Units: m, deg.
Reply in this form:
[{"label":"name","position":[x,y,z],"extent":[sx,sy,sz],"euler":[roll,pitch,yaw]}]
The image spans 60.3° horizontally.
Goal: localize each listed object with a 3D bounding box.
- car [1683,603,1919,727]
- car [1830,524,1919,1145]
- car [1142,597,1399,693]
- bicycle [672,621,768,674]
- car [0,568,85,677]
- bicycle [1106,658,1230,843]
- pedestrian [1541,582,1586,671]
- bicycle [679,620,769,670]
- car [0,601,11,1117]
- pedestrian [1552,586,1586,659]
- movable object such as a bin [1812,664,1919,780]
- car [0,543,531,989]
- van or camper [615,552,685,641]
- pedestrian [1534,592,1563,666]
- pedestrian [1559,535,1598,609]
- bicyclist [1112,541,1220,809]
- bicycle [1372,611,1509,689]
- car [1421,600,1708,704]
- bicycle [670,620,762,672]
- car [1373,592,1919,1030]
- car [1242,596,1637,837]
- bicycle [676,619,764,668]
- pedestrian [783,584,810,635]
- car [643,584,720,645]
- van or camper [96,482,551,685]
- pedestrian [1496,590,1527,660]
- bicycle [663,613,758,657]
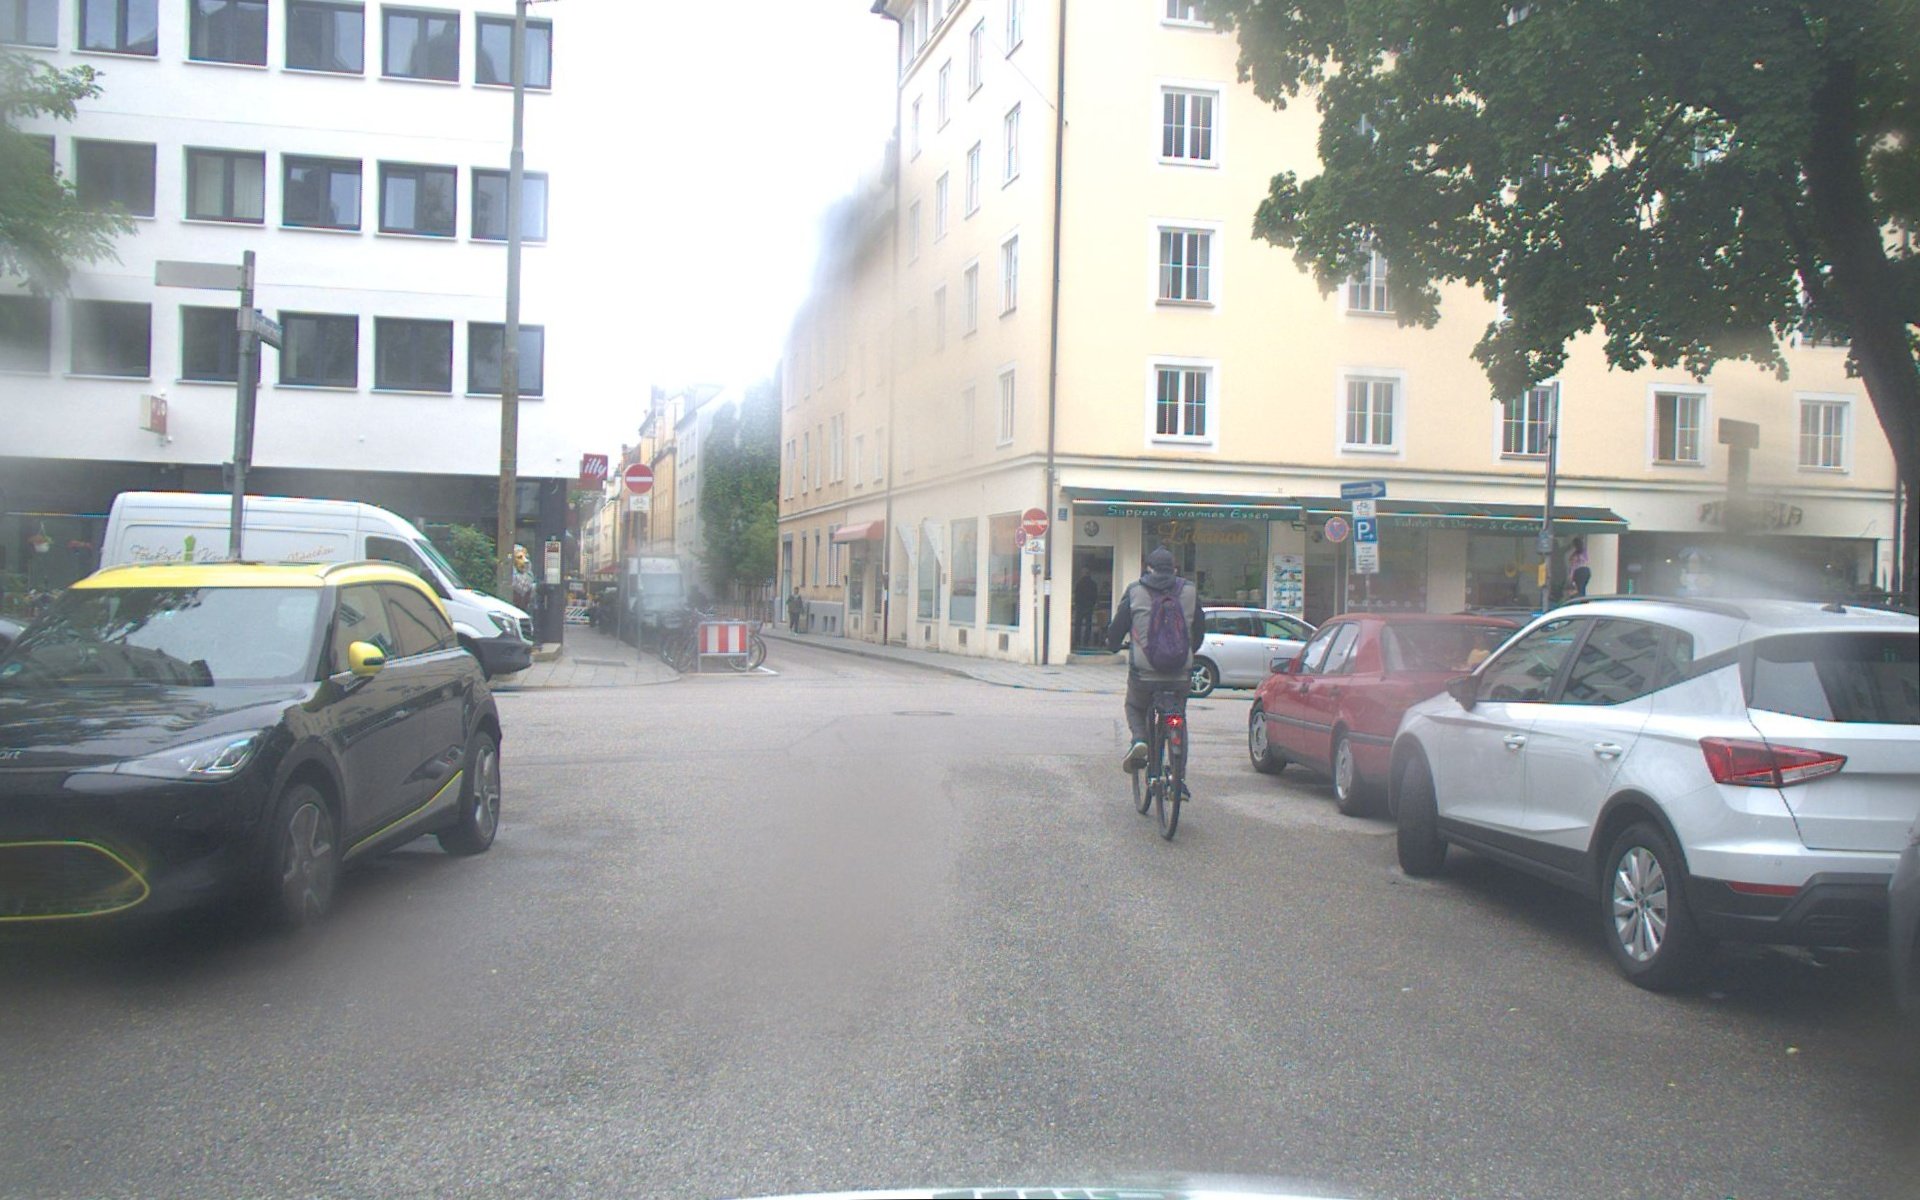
[{"label":"car","position":[11.603,0.844,22.003],"extent":[3.260,1.513,1.625],"euler":[1,1,-10]},{"label":"car","position":[3.663,0.685,2.923],"extent":[1.754,1.743,4.424],"euler":[1,0,-3]},{"label":"car","position":[5.087,0.772,27.433],"extent":[3.905,1.441,1.820],"euler":[1,-3,-1]},{"label":"bicycle","position":[-4.606,0.916,31.742],"extent":[1.727,0.985,0.592],"euler":[1,0,-18]},{"label":"car","position":[-14.441,0.304,22.628],"extent":[3.984,1.454,1.793],"euler":[1,-2,-14]},{"label":"bicycle","position":[1.299,0.916,10.579],"extent":[0.626,1.022,1.574],"euler":[1,0,2]},{"label":"pedestrian","position":[12.022,0.521,32.953],"extent":[0.591,1.731,0.542],"euler":[1,2,-10]},{"label":"bicycle","position":[-4.723,0.899,33.084],"extent":[1.709,0.985,0.541],"euler":[1,0,-18]},{"label":"car","position":[-3.520,0.727,2.592],"extent":[1.671,1.414,4.001],"euler":[-1,0,1]},{"label":"pedestrian","position":[13.304,0.484,36.137],"extent":[0.428,1.578,0.530],"euler":[1,0,-29]},{"label":"movable object such as a bin","position":[7.856,0.996,13.727],"extent":[0.882,0.858,1.218],"euler":[1,0,-4]},{"label":"car","position":[-3.414,0.614,8.052],"extent":[1.642,1.625,3.944],"euler":[-1,0,-1]},{"label":"van or camper","position":[-9.580,-0.114,50.850],"extent":[1.959,2.584,4.746],"euler":[1,0,-12]},{"label":"pedestrian","position":[12.704,0.617,35.710],"extent":[0.544,1.564,0.434],"euler":[2,2,20]},{"label":"pedestrian","position":[13.754,-0.625,36.784],"extent":[0.542,1.602,0.576],"euler":[3,0,-12]},{"label":"bicyclist","position":[1.303,0.455,10.547],"extent":[0.593,1.634,0.757],"euler":[1,1,2]},{"label":"bicycle","position":[8.637,0.894,29.777],"extent":[2.045,1.275,1.104],"euler":[2,1,-11]},{"label":"car","position":[10.181,0.878,27.952],"extent":[4.259,1.620,1.815],"euler":[2,-2,-12]},{"label":"bicycle","position":[-4.772,0.906,32.368],"extent":[1.709,0.985,0.541],"euler":[1,0,-18]},{"label":"car","position":[3.457,0.752,7.818],"extent":[1.716,1.522,3.905],"euler":[1,0,-5]},{"label":"car","position":[3.436,0.746,12.702],"extent":[1.636,1.460,4.212],"euler":[2,1,-2]},{"label":"bicycle","position":[-4.890,0.885,33.687],"extent":[1.709,0.985,0.541],"euler":[1,0,-18]},{"label":"pedestrian","position":[-5.890,0.349,59.450],"extent":[0.862,1.809,0.771],"euler":[1,0,-13]},{"label":"car","position":[-7.616,0.366,45.063],"extent":[1.801,1.562,3.986],"euler":[1,0,-13]},{"label":"van or camper","position":[-8.976,-0.174,23.854],"extent":[5.798,2.724,1.868],"euler":[1,-2,-11]},{"label":"pedestrian","position":[11.694,0.530,35.056],"extent":[0.502,1.458,0.582],"euler":[1,0,29]},{"label":"bicycle","position":[-5.234,0.737,34.681],"extent":[1.881,0.878,0.615],"euler":[1,0,-18]}]
